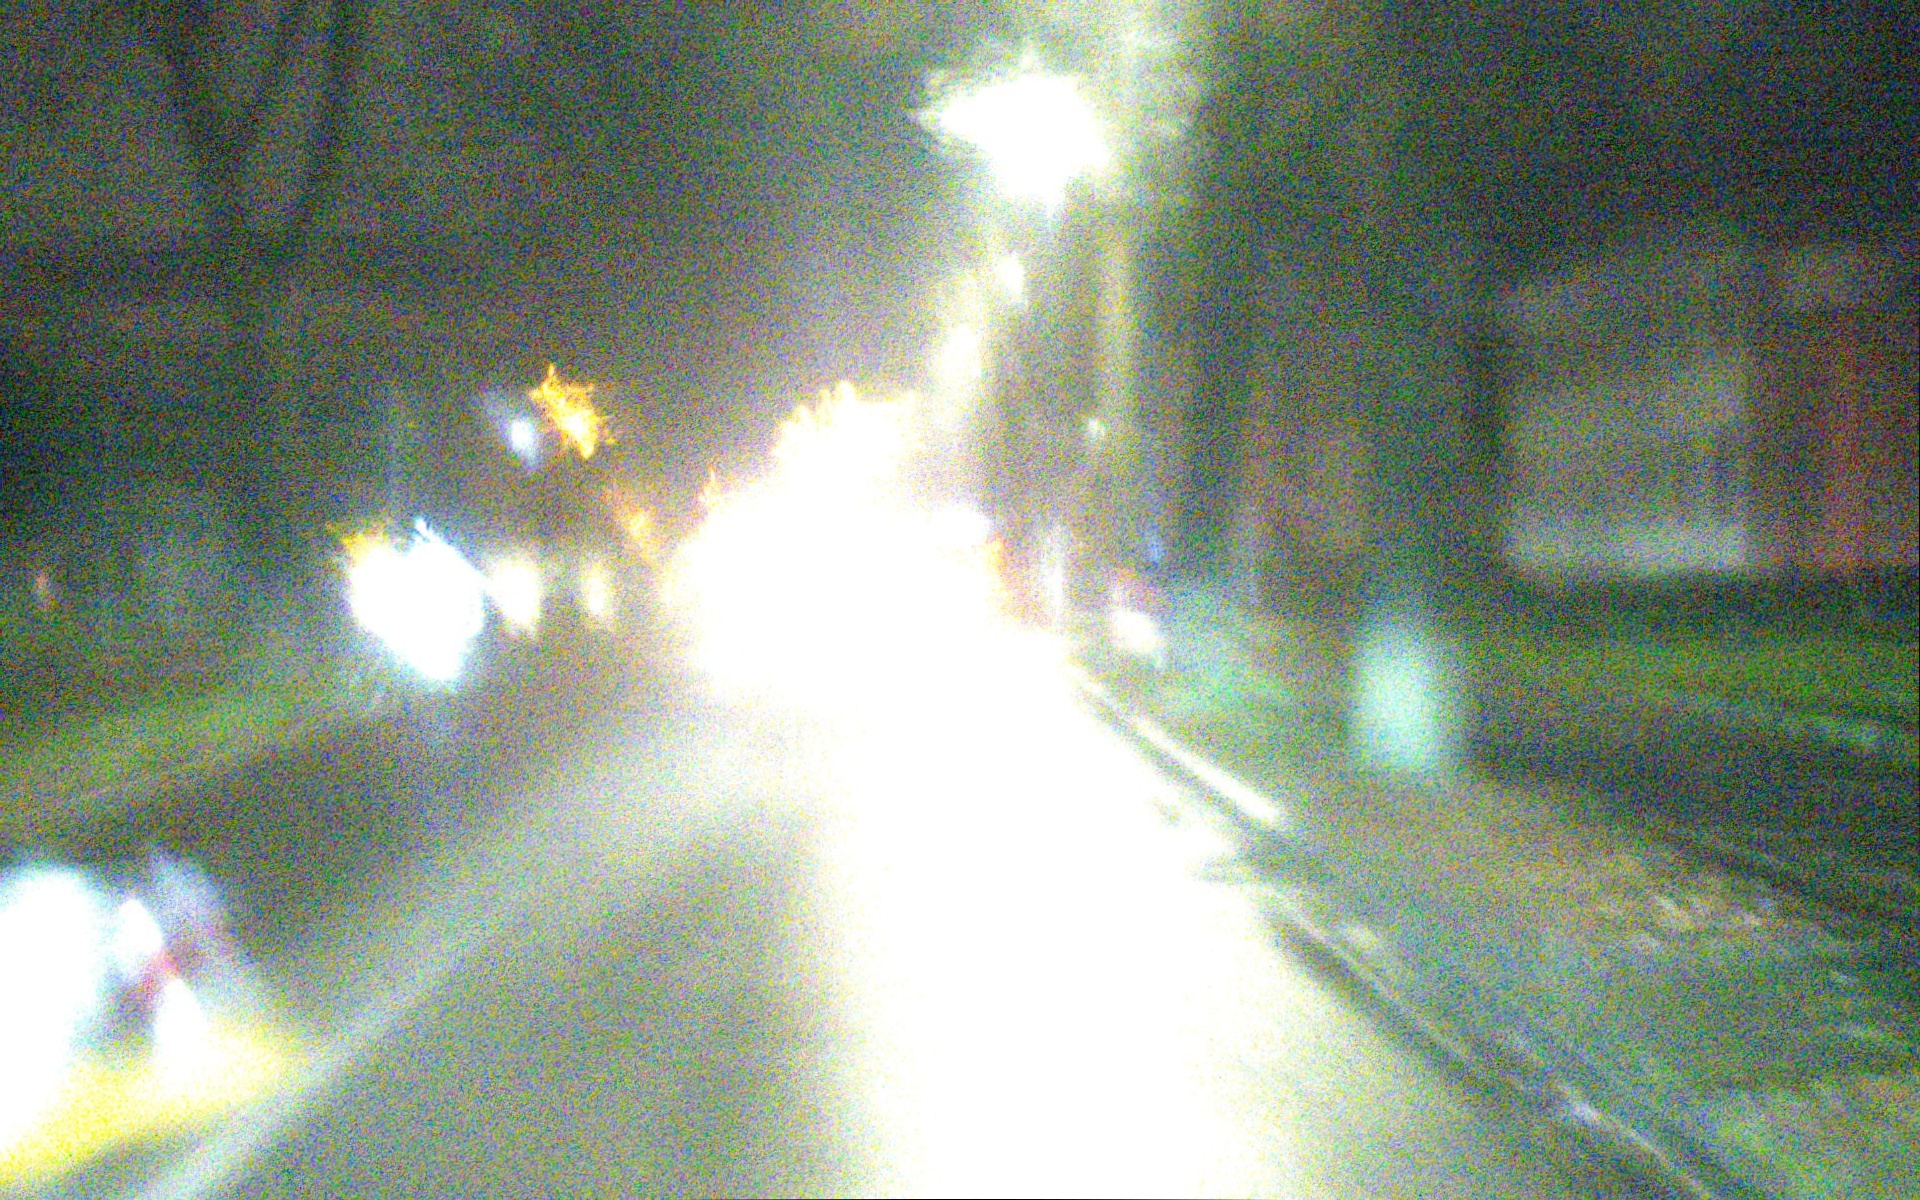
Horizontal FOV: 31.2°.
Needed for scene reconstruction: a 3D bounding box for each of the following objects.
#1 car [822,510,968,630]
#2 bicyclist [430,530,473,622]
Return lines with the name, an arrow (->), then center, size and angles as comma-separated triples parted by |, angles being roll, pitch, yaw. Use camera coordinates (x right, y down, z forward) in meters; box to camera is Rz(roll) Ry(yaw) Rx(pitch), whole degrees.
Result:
car -> -0.999, -0.460, 50.567 | 1.993, 1.678, 4.001 | 0, 1, -3
bicyclist -> -9.013, -0.425, 60.959 | 0.636, 1.589, 0.960 | 1, 2, -2
